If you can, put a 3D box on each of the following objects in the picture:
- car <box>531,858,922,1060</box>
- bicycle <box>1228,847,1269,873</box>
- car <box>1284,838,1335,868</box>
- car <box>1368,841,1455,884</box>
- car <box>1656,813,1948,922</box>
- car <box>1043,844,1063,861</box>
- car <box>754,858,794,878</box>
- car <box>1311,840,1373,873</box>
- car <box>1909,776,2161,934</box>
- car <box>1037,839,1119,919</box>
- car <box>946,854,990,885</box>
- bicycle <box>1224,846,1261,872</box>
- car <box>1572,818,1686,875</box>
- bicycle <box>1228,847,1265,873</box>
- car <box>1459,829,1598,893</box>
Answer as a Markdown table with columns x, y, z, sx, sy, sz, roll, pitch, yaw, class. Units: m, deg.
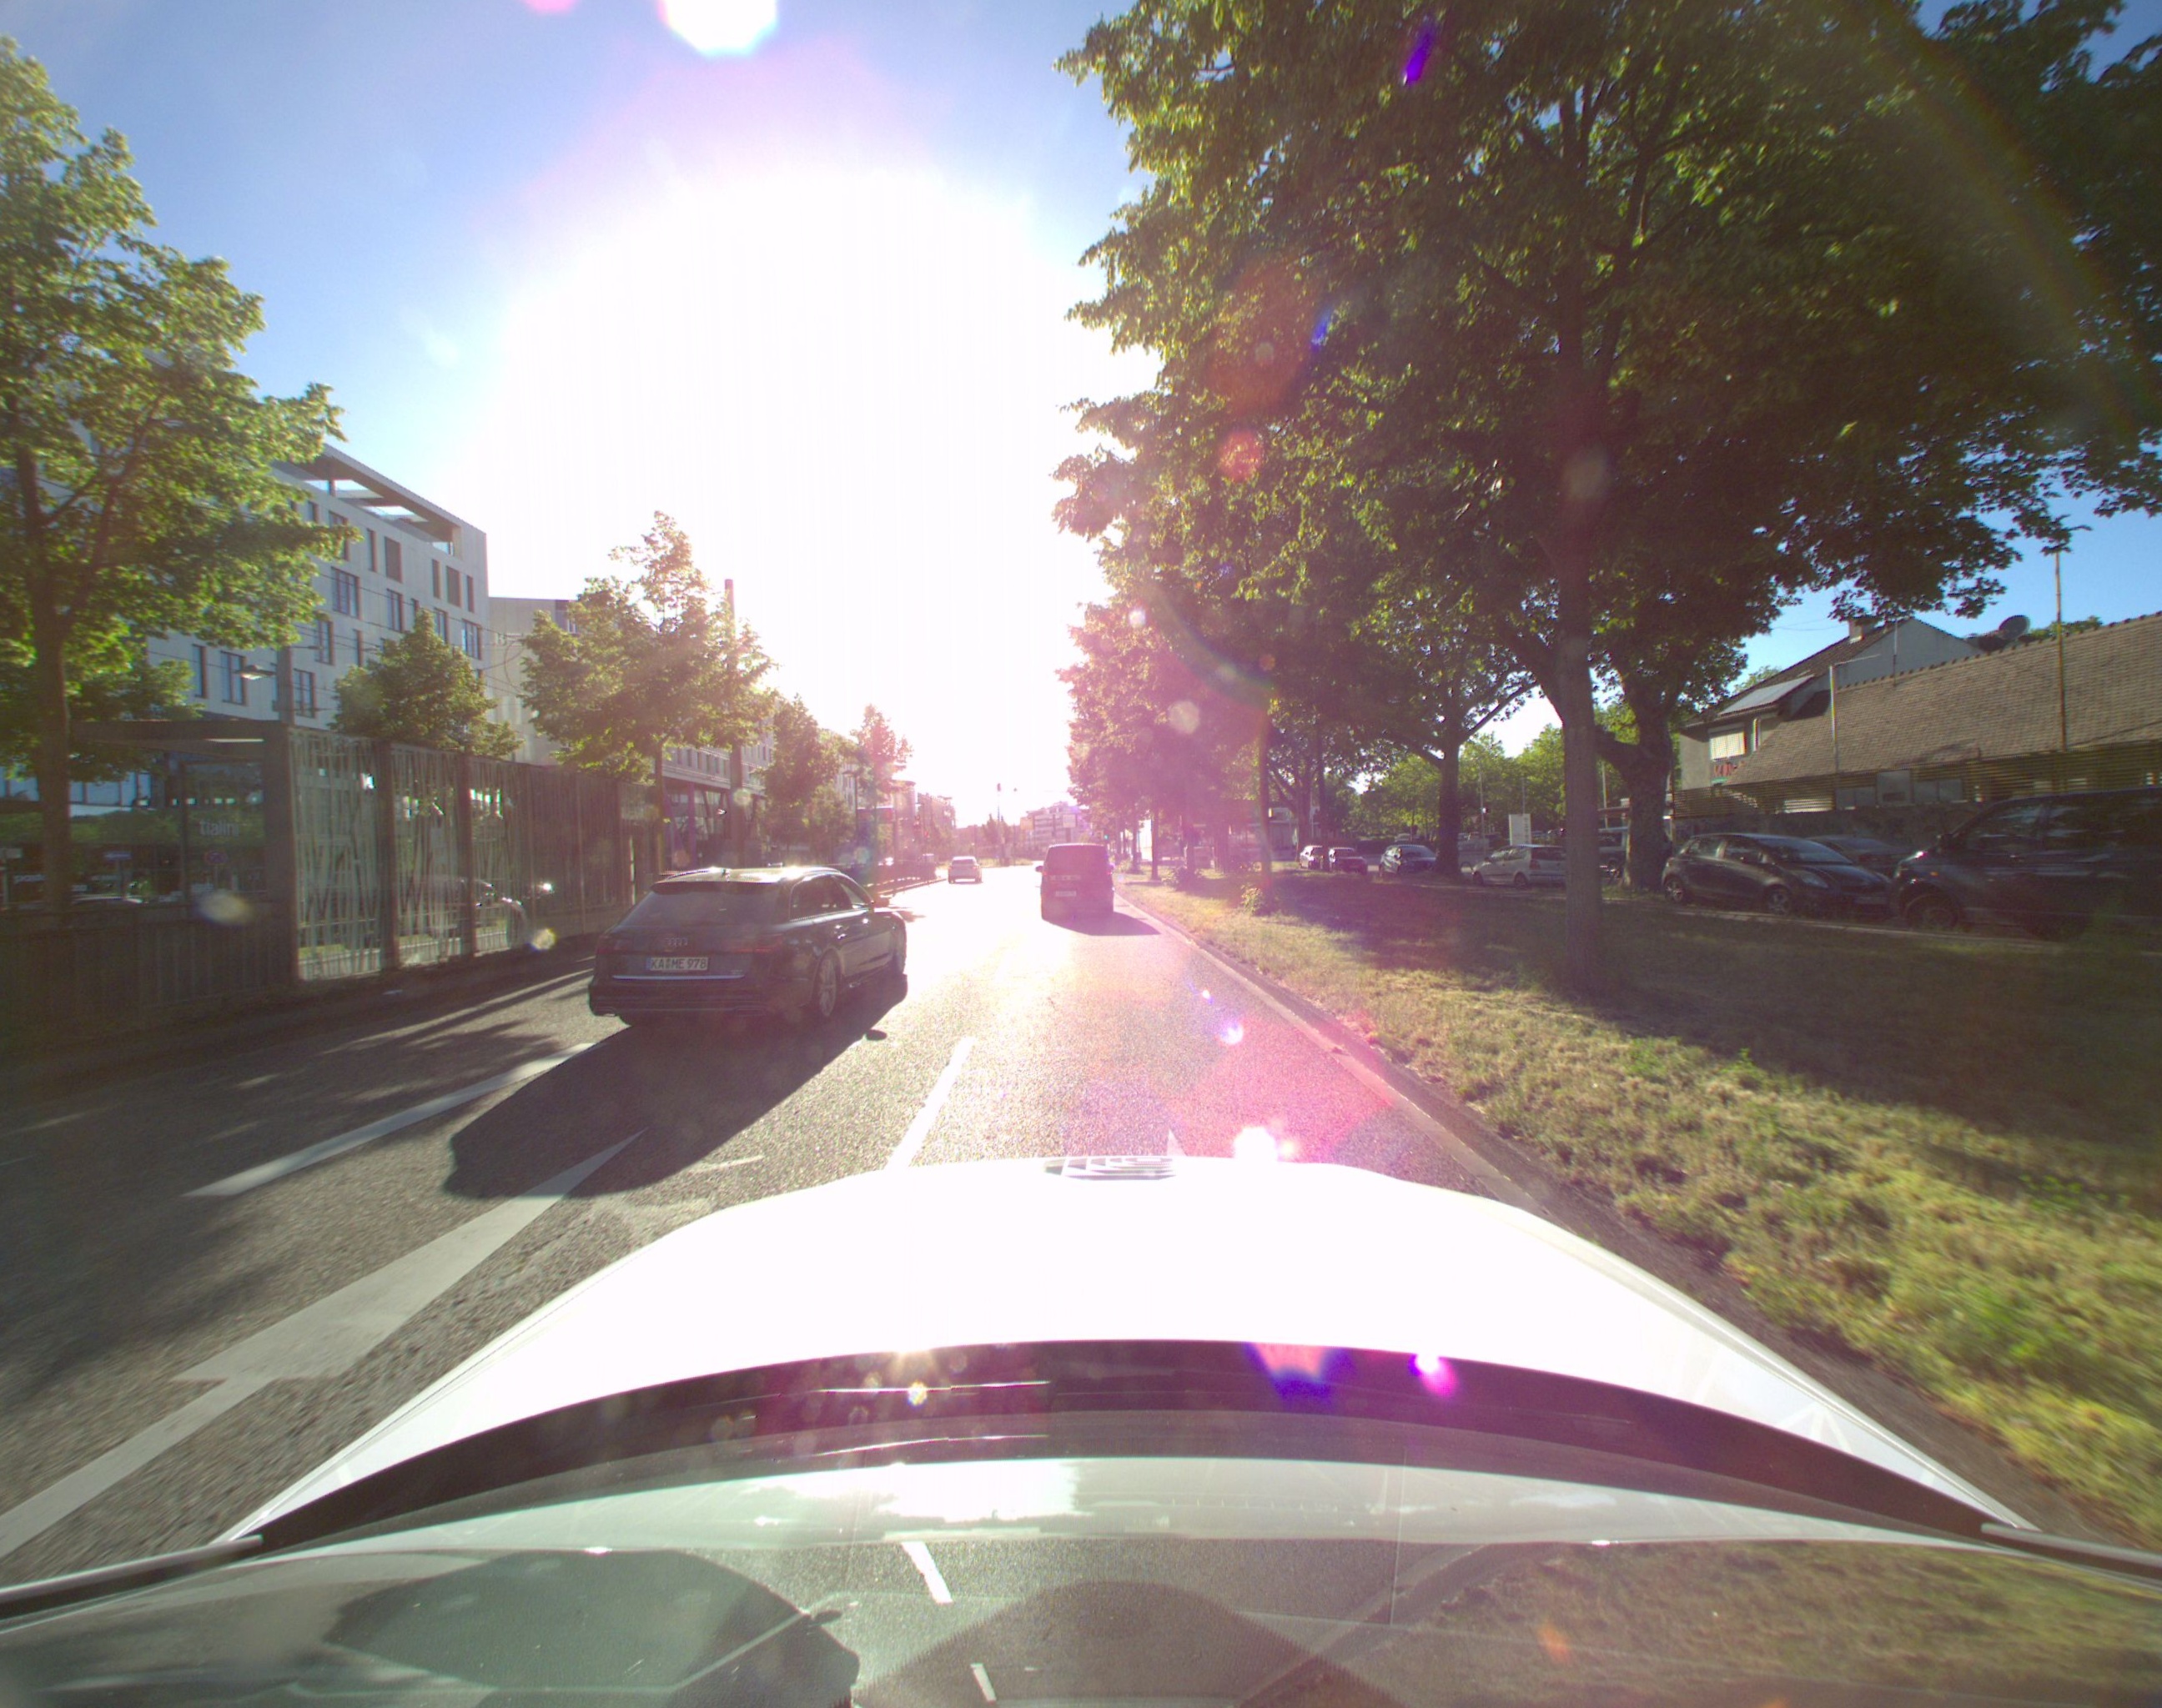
| x | y | z | sx | sy | sz | roll | pitch | yaw | class |
| --- | --- | --- | --- | --- | --- | --- | --- | --- | --- |
| -3.230 | 0.825 | 8.830 | 1.946 | 1.480 | 5.085 | -1 | 0 | 1 | car |
| 8.251 | 0.293 | 40.199 | 1.912 | 1.268 | 0.479 | -2 | 0 | -1 | bicycle |
| 13.398 | -0.022 | 47.990 | 1.865 | 1.684 | 3.999 | -1 | 0 | 0 | car |
| 13.770 | 0.341 | 34.184 | 1.866 | 1.684 | 3.996 | -1 | 0 | -2 | car |
| 12.721 | 0.231 | 14.776 | 1.864 | 1.684 | 4.002 | -1 | 0 | 2 | car |
| -3.513 | -0.219 | 102.276 | 2.262 | 2.013 | 4.709 | -2 | 0 | 0 | car |
| -28.099 | 1.220 | 74.646 | 1.985 | 1.765 | 4.003 | -1 | 0 | 3 | car |
| 13.846 | 0.136 | 43.472 | 1.866 | 1.684 | 3.996 | -1 | 0 | -2 | car |
| 12.426 | 0.004 | 9.276 | 1.866 | 1.684 | 3.997 | -1 | 0 | -2 | car |
| -0.170 | 0.587 | 20.867 | 1.805 | 1.838 | 3.994 | -1 | 0 | -4 | car |
| -6.368 | 0.855 | 46.215 | 1.988 | 1.618 | 3.998 | -1 | 0 | -1 | car |
| 8.370 | 0.272 | 42.217 | 1.773 | 1.268 | 0.479 | -2 | 0 | -1 | bicycle |
| 21.894 | -0.260 | 32.740 | 1.985 | 2.013 | 4.004 | -4 | -1 | 4 | car |
| 8.353 | 0.296 | 41.067 | 1.773 | 1.268 | 0.479 | -1 | -1 | -1 | bicycle |
| 13.423 | 0.219 | 24.732 | 1.867 | 1.684 | 3.996 | -3 | 0 | -2 | car |
